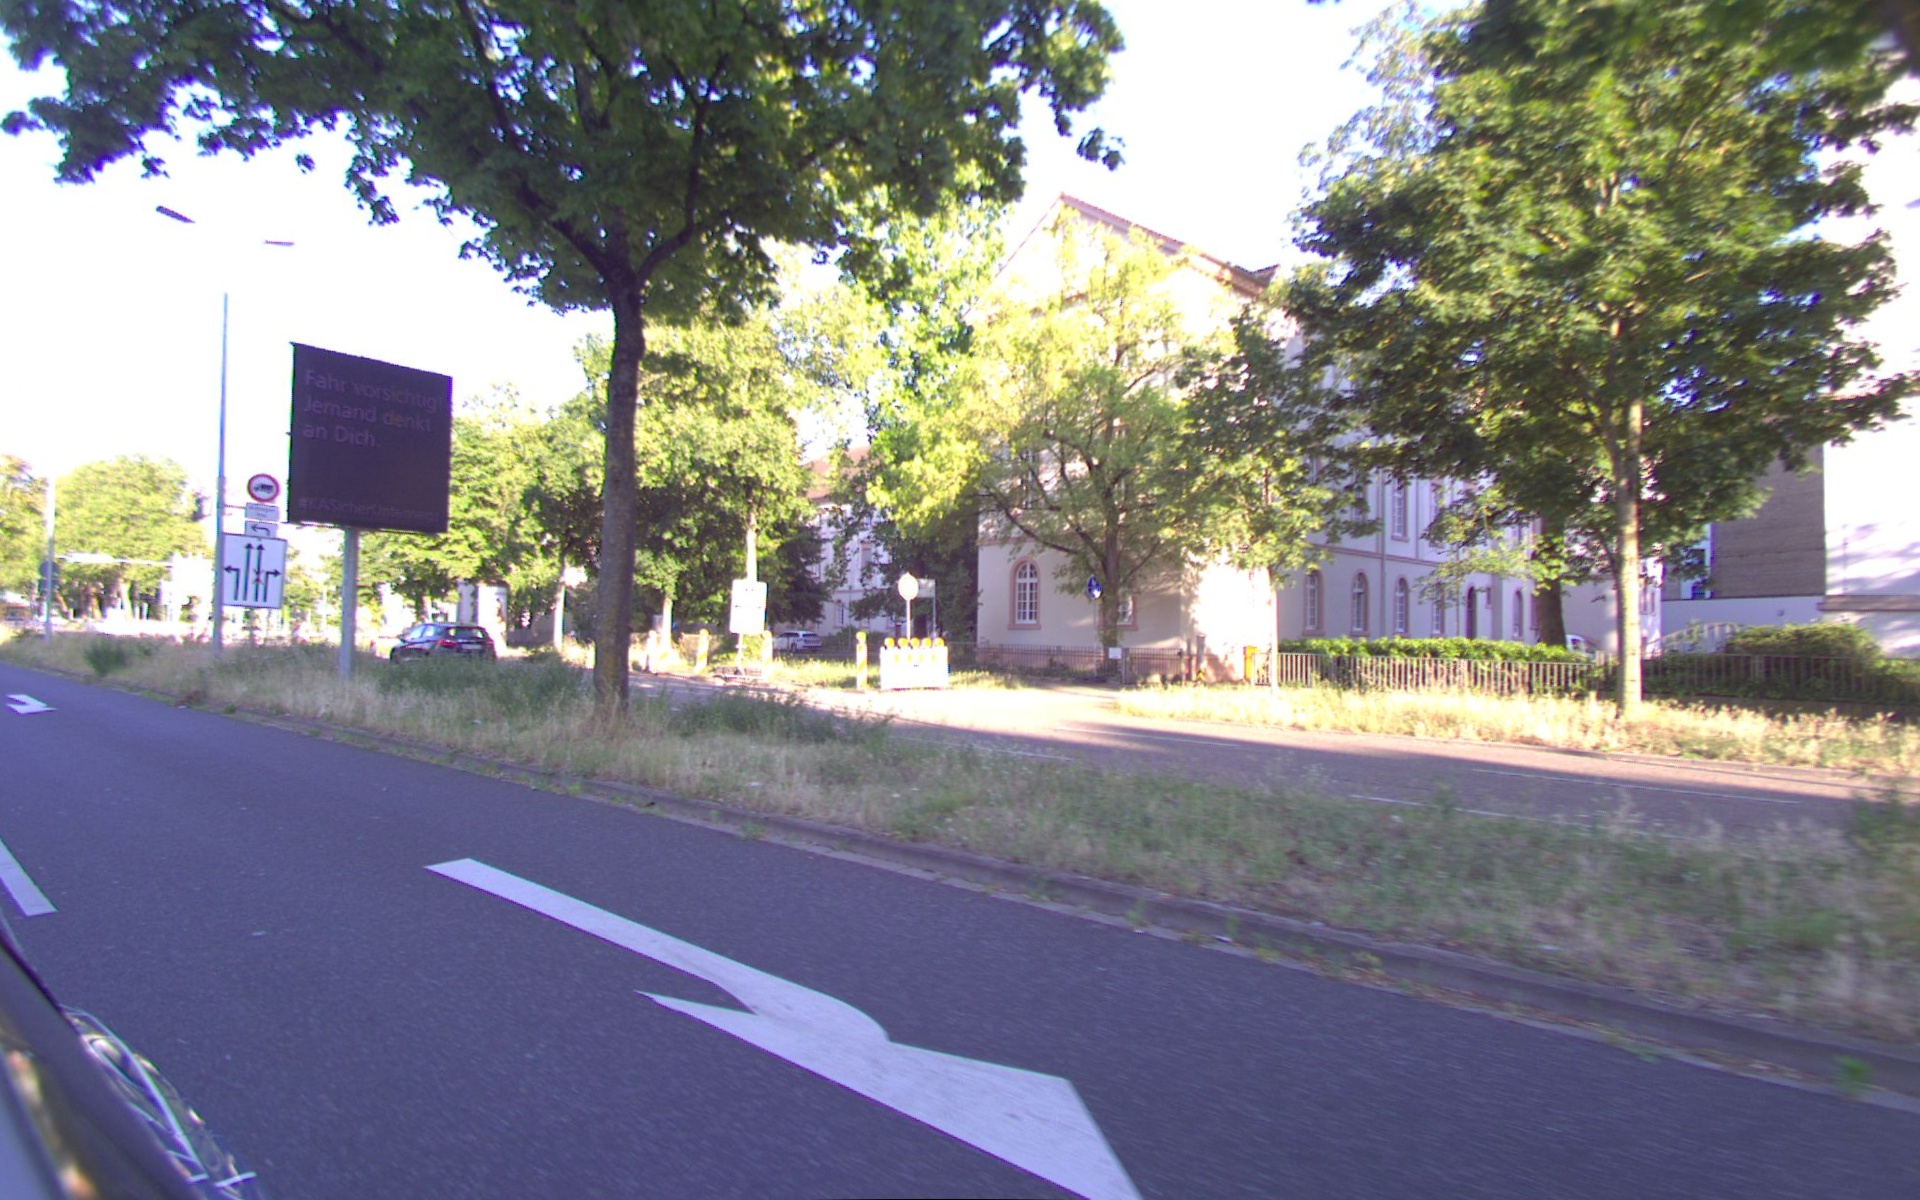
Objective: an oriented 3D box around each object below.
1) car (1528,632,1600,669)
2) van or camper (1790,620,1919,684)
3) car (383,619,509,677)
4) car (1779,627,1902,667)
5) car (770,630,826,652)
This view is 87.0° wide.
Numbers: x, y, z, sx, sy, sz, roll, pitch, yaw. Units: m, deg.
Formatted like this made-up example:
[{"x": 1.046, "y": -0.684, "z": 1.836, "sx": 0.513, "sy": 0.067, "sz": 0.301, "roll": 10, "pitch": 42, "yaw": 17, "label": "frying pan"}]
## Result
[{"x": 26.923, "y": 2.257, "z": 45.086, "sx": 3.947, "sy": 1.560, "sz": 1.781, "roll": 3, "pitch": -4, "yaw": -44, "label": "car"}, {"x": 31.757, "y": 1.774, "z": 35.250, "sx": 4.368, "sy": 2.095, "sz": 1.973, "roll": -1, "pitch": -1, "yaw": 41, "label": "van or camper"}, {"x": -14.291, "y": 1.314, "z": 28.065, "sx": 4.007, "sy": 1.428, "sz": 1.755, "roll": -1, "pitch": -6, "yaw": 43, "label": "car"}, {"x": 36.904, "y": 1.940, "z": 42.532, "sx": 3.810, "sy": 1.510, "sz": 1.973, "roll": -1, "pitch": -1, "yaw": 41, "label": "car"}, {"x": -11.109, "y": 2.809, "z": 69.374, "sx": 3.999, "sy": 1.386, "sz": 1.676, "roll": -1, "pitch": -1, "yaw": 42, "label": "car"}]
